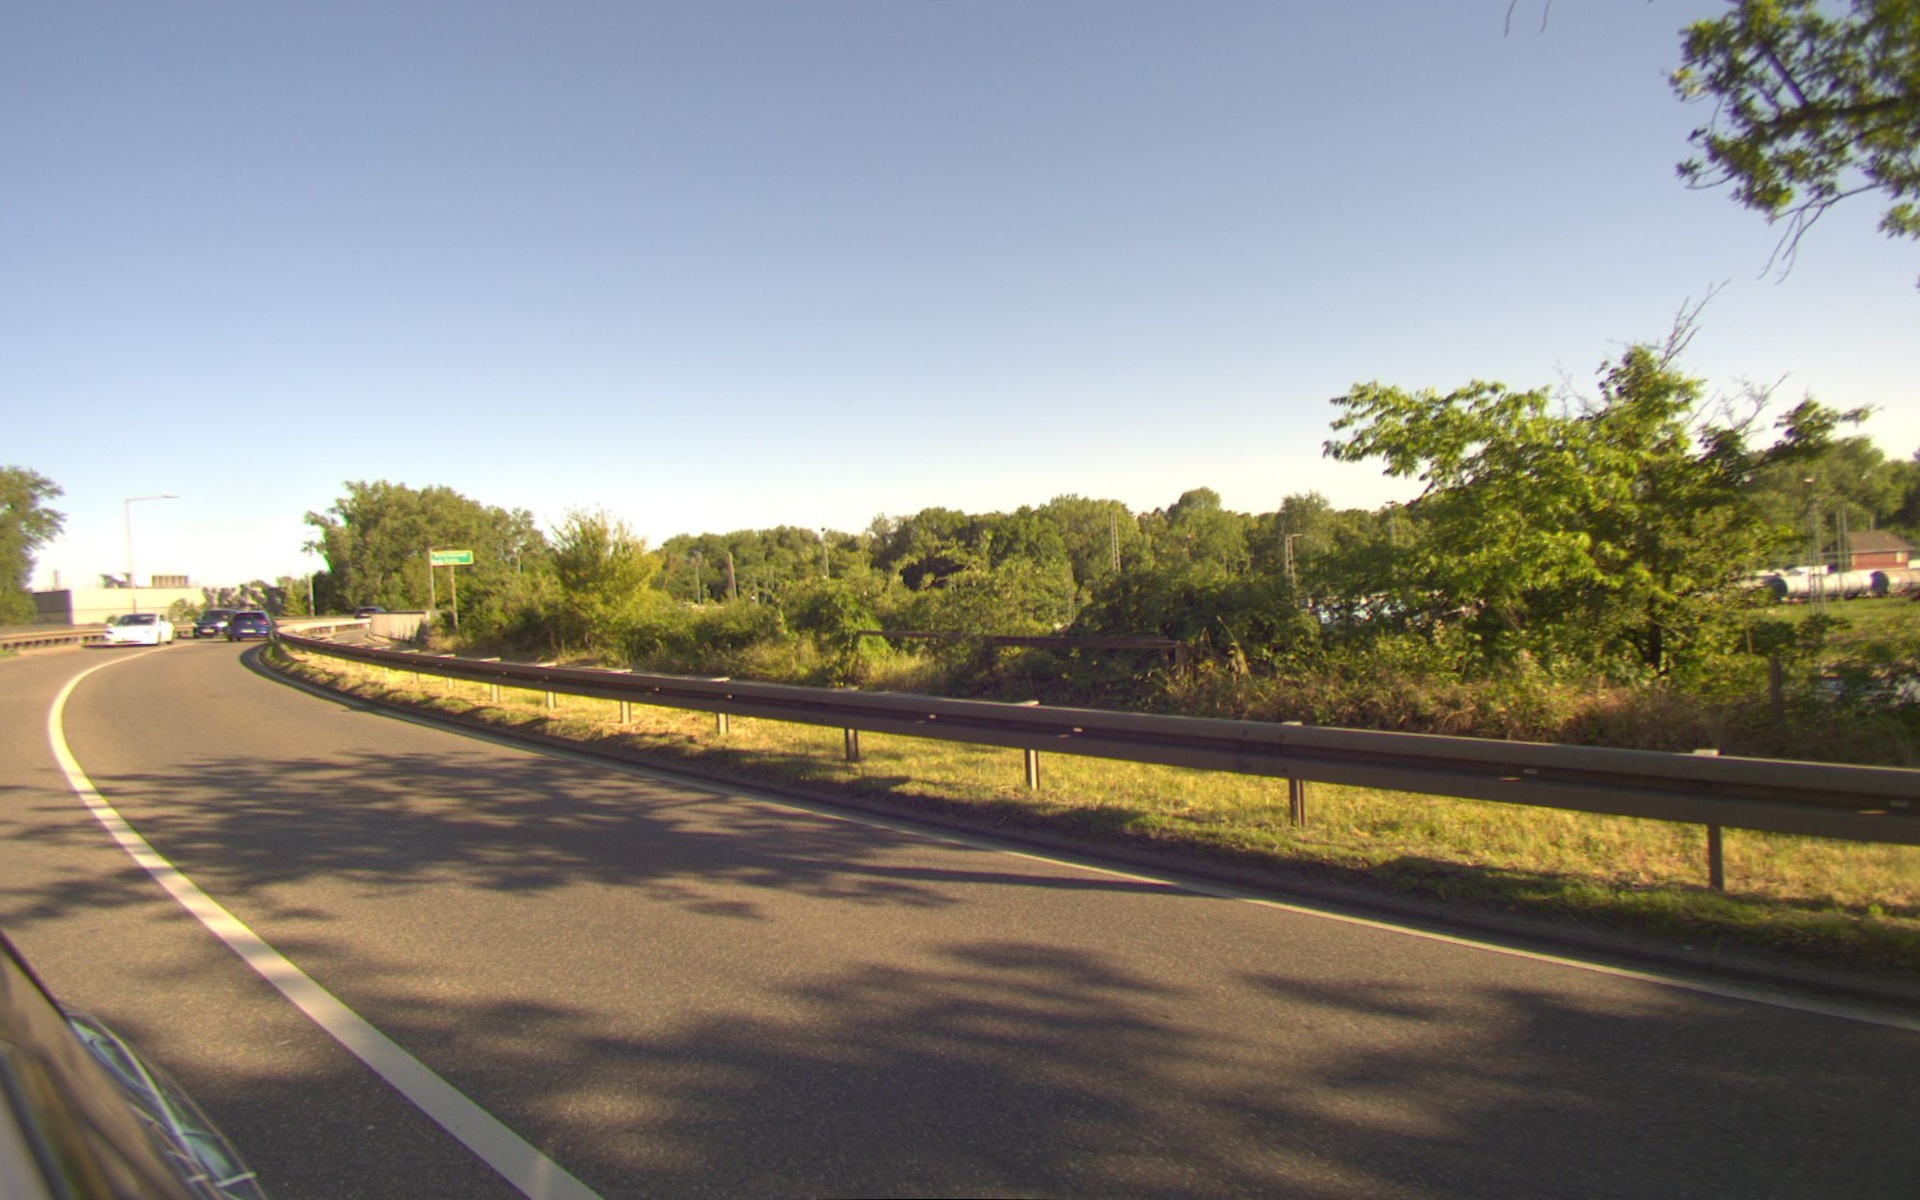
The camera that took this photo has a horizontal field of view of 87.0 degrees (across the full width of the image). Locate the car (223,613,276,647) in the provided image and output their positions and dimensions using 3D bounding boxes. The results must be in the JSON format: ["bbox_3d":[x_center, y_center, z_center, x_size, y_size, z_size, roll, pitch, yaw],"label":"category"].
[{"bbox_3d":[-33.800,1.412,48.237,1.655,1.461,4.012,-1,0,-30],"label":"car"}]

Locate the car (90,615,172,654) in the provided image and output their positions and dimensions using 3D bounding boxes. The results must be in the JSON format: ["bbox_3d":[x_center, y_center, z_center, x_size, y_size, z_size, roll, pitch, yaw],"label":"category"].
[{"bbox_3d":[-35.826,1.446,43.856,2.114,1.579,4.211,0,-1,-30],"label":"car"}]

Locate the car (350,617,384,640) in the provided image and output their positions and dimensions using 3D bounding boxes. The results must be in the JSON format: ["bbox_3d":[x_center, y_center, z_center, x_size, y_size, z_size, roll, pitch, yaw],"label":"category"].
[{"bbox_3d":[-47.017,2.237,80.345,1.655,1.668,3.871,-1,0,-20],"label":"car"}]

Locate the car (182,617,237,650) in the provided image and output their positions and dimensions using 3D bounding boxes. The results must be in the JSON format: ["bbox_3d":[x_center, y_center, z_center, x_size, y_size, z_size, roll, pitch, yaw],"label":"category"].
[{"bbox_3d":[-42.576,1.846,57.481,1.655,1.717,3.617,-1,0,-23],"label":"car"}]
